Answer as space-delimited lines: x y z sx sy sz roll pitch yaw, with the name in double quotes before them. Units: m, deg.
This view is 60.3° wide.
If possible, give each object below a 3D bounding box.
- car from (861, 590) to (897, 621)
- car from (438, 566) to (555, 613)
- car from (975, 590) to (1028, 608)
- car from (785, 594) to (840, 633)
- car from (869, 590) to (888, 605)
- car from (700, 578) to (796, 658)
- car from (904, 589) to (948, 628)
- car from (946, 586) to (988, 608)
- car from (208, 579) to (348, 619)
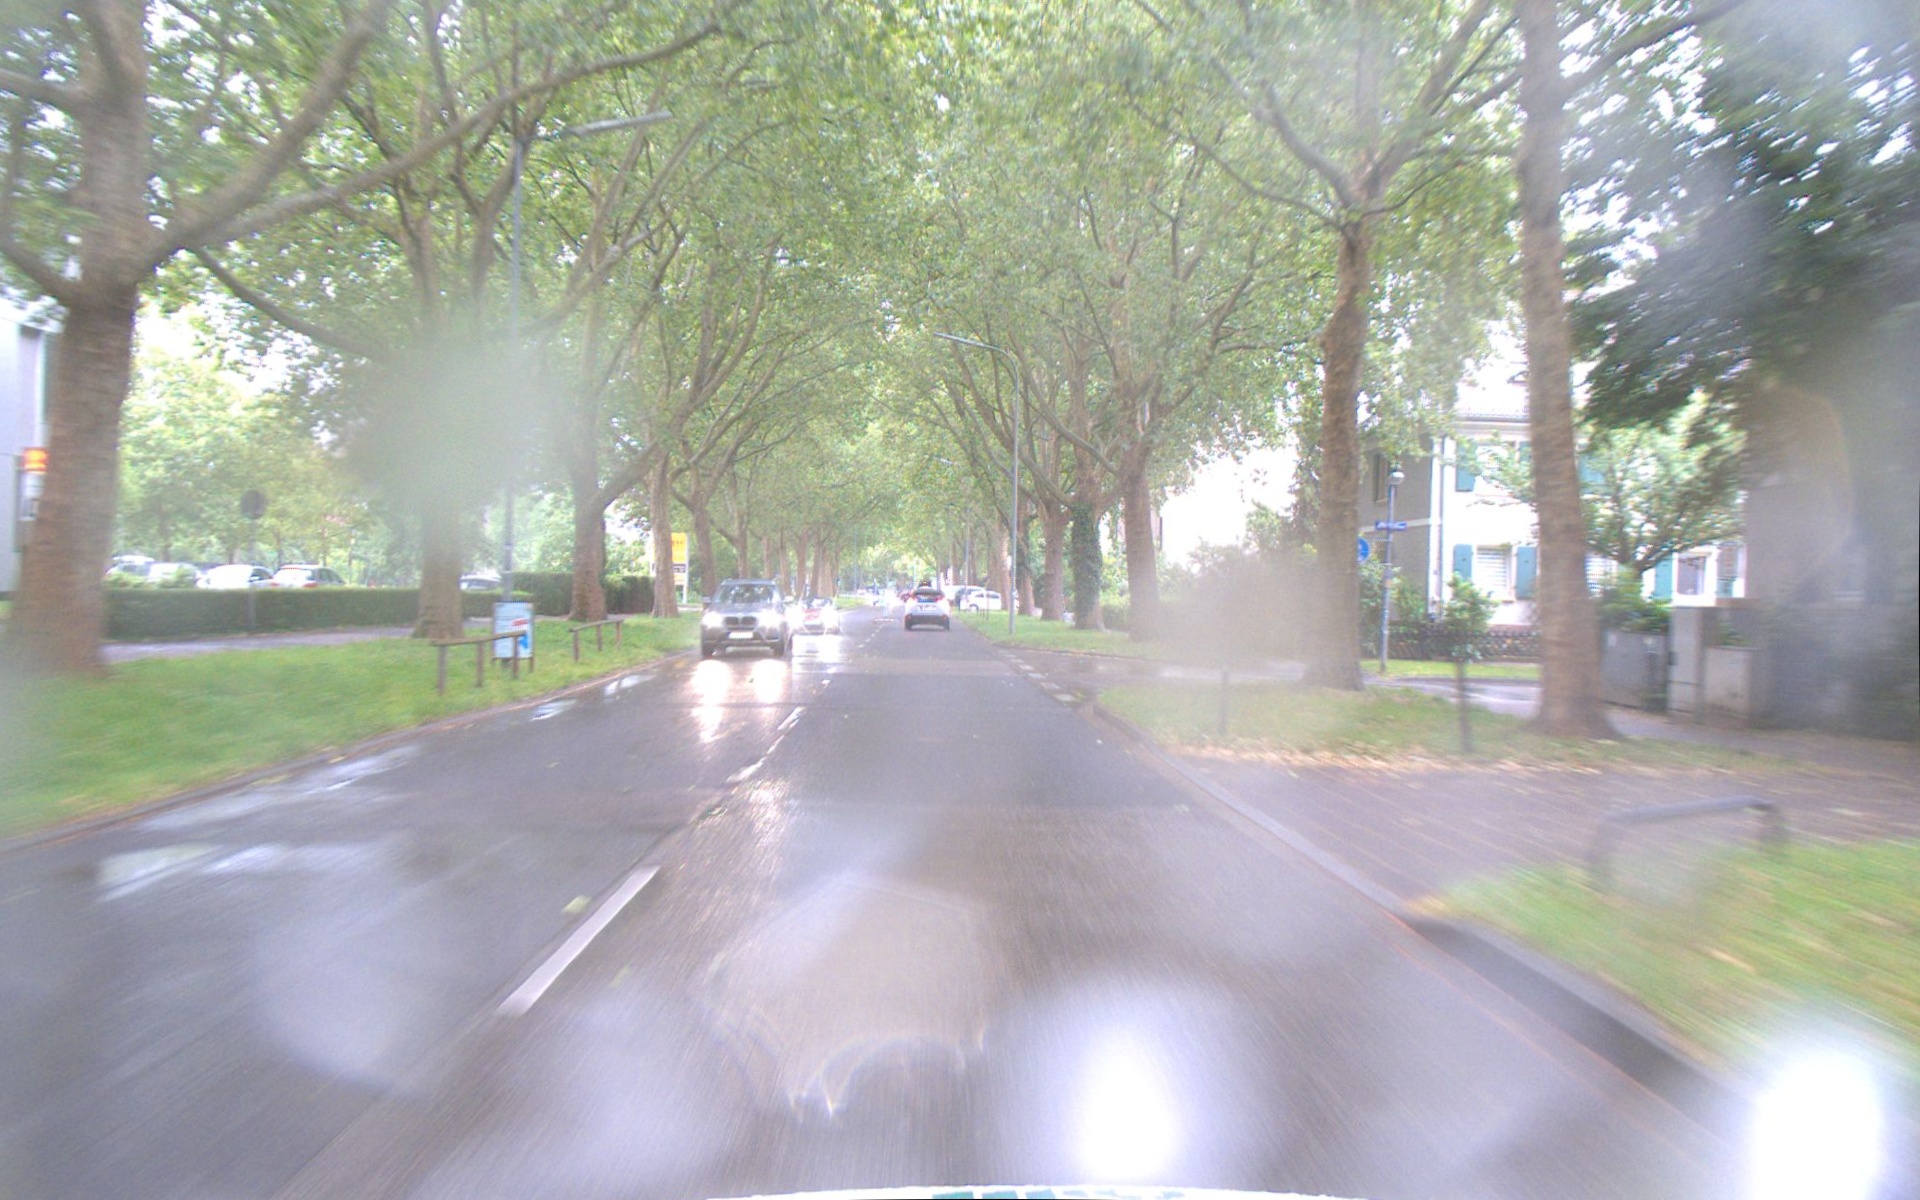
"car" -3.995 0.256 82.030 1.671 1.436 3.643 0 1 -2
"car" -17.794 -0.410 63.582 3.906 1.651 2.000 2 0 -1
"car" 2.790 -0.055 111.886 3.477 1.175 1.710 0 1 -4
"car" -5.104 0.444 57.526 1.671 1.272 3.643 0 1 -2
"car" -7.802 -0.259 158.661 1.685 1.276 3.999 3 1 -1
"car" -4.734 0.356 37.466 1.773 1.713 4.446 0 1 -2
"car" -1.346 0.306 64.805 1.671 1.436 3.643 0 1 -2
"car" 0.609 -0.268 139.693 3.476 1.873 1.710 0 0 -3
"car" -23.245 -0.031 56.481 3.907 1.154 1.999 3 0 -2
